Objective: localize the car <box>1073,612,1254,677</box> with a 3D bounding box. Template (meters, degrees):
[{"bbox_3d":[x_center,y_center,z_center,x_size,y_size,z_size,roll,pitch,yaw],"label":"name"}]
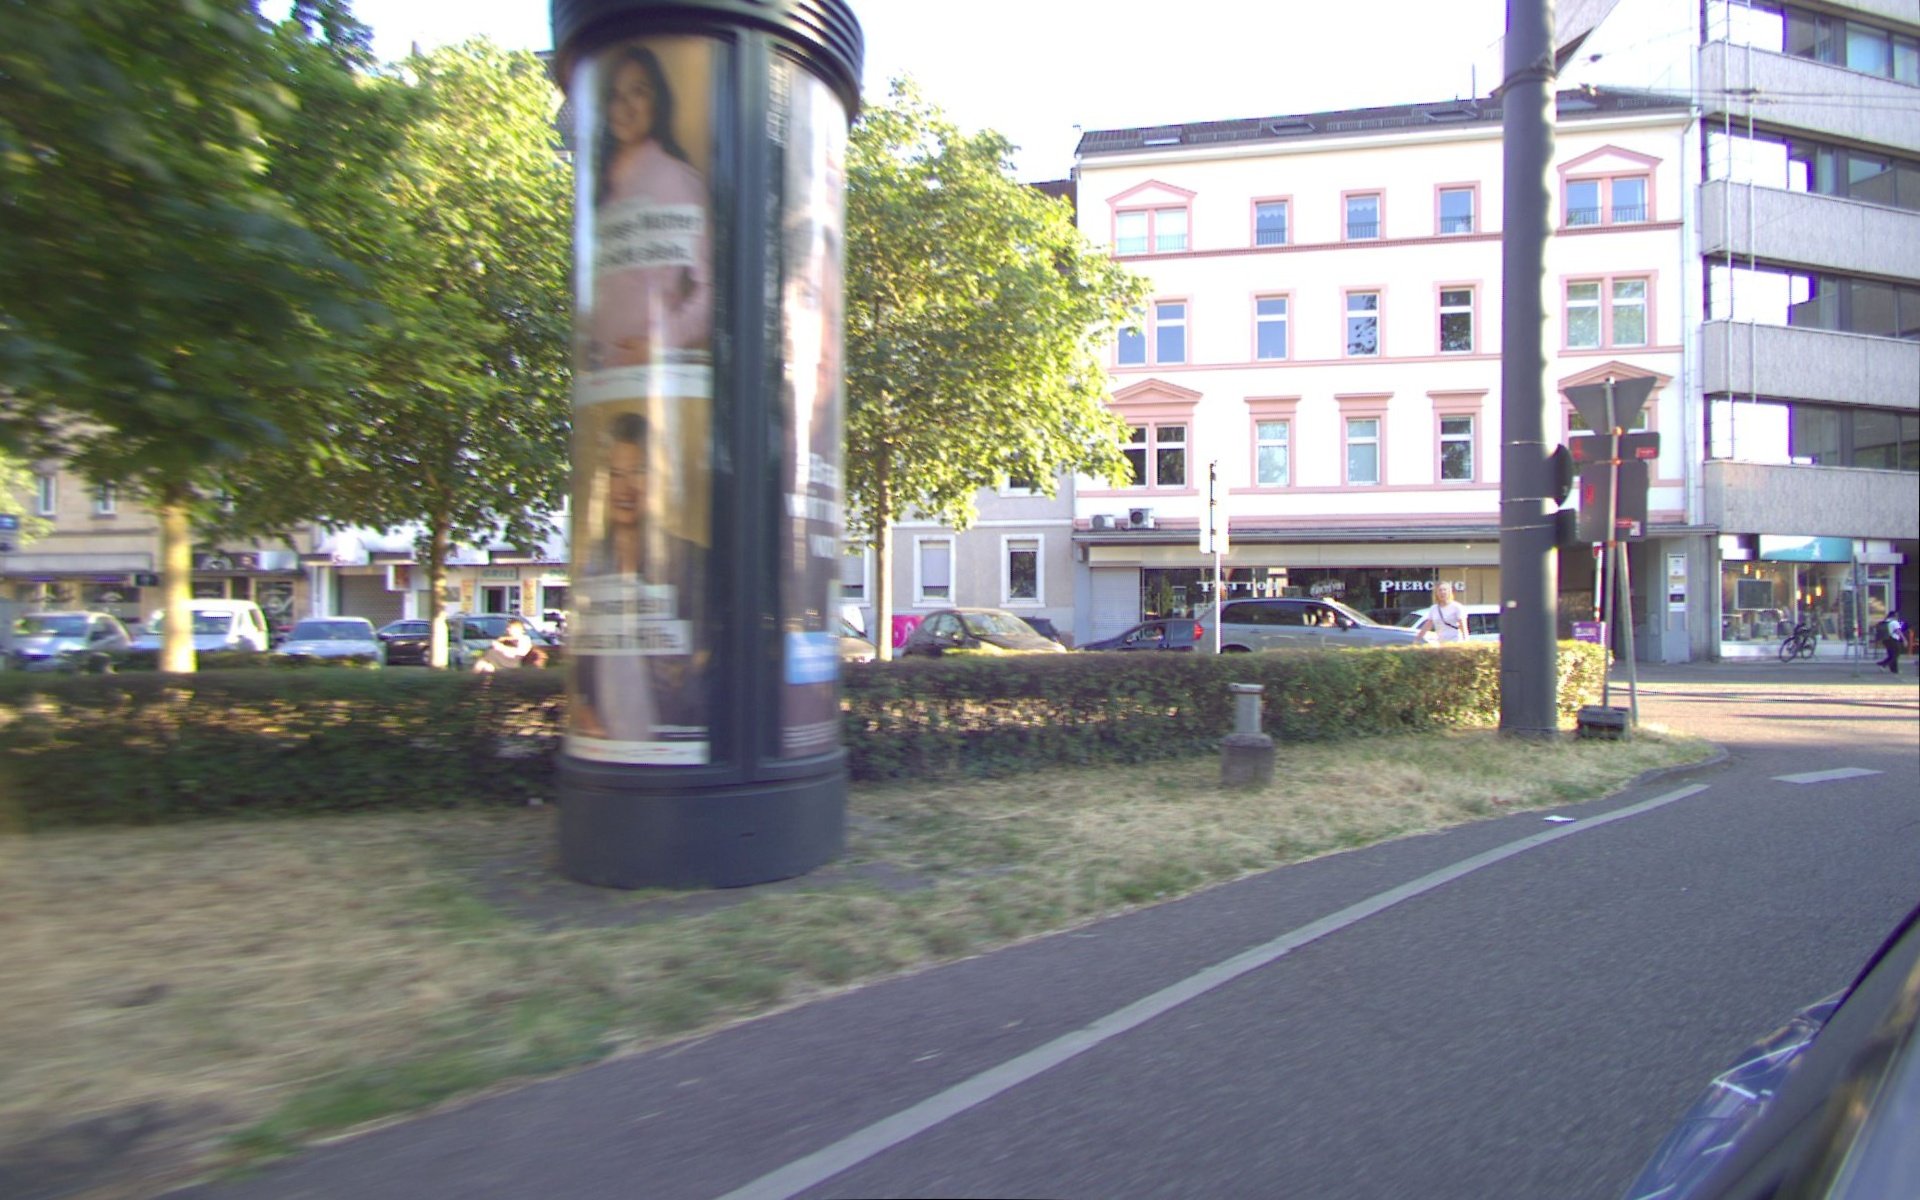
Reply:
[{"bbox_3d":[4.866,1.060,24.474,4.096,1.505,1.930,-1,-1,11],"label":"car"}]

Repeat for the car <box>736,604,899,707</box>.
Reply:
[{"bbox_3d":[-2.709,0.939,18.368,1.912,1.625,4.006,0,-2,-24],"label":"car"}]

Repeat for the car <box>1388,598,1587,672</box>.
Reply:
[{"bbox_3d":[13.610,0.883,26.353,4.160,1.807,1.927,-1,0,10],"label":"car"}]

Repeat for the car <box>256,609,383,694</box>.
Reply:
[{"bbox_3d":[-12.735,0.975,20.308,1.960,1.505,4.002,0,-2,-31],"label":"car"}]

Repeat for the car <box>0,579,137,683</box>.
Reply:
[{"bbox_3d":[-19.418,0.656,21.782,1.960,2.040,4.003,0,-2,-29],"label":"car"}]

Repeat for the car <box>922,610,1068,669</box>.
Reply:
[{"bbox_3d":[1.031,1.097,28.514,3.934,1.511,1.821,-1,1,9],"label":"car"}]

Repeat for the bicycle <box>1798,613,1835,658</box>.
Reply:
[{"bbox_3d":[23.774,0.973,28.086,1.401,1.207,0.487,1,-2,-38],"label":"bicycle"}]

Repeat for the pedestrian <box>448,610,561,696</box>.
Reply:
[{"bbox_3d":[-6.899,0.780,15.406,0.946,1.242,1.365,-1,-1,12],"label":"pedestrian"}]

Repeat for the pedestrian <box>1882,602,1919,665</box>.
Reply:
[{"bbox_3d":[23.983,0.849,25.599,0.781,1.556,0.567,-1,0,14],"label":"pedestrian"}]

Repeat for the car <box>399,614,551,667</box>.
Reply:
[{"bbox_3d":[-15.185,1.260,31.794,3.937,1.514,1.946,-1,1,11],"label":"car"}]

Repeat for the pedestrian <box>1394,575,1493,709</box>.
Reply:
[{"bbox_3d":[6.565,0.555,13.769,0.957,1.753,0.728,0,-2,-23],"label":"pedestrian"}]

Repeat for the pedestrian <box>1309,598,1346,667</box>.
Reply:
[{"bbox_3d":[9.845,0.859,27.111,0.782,1.823,0.637,-1,-2,10],"label":"pedestrian"}]

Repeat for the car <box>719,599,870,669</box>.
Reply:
[{"bbox_3d":[-4.798,0.971,29.603,3.937,1.909,1.946,-1,1,11],"label":"car"}]

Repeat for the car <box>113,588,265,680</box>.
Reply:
[{"bbox_3d":[-15.995,0.687,21.217,1.960,1.728,4.003,0,-2,-29],"label":"car"}]

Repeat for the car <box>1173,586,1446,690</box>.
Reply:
[{"bbox_3d":[6.712,0.713,19.584,4.673,1.794,1.977,-1,-2,32],"label":"car"}]

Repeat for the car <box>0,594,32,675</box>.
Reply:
[{"bbox_3d":[-22.141,0.772,21.998,1.873,1.796,4.005,0,-2,-27],"label":"car"}]

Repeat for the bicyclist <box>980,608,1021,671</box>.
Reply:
[{"bbox_3d":[1.068,1.043,26.704,0.993,1.635,0.719,-1,-2,10],"label":"bicyclist"}]

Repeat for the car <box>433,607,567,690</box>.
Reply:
[{"bbox_3d":[-9.010,0.894,19.649,1.960,1.416,4.002,0,-2,-31],"label":"car"}]

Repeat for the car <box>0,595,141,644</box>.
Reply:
[{"bbox_3d":[-30.392,0.647,34.347,3.937,1.514,1.946,-1,1,11],"label":"car"}]
